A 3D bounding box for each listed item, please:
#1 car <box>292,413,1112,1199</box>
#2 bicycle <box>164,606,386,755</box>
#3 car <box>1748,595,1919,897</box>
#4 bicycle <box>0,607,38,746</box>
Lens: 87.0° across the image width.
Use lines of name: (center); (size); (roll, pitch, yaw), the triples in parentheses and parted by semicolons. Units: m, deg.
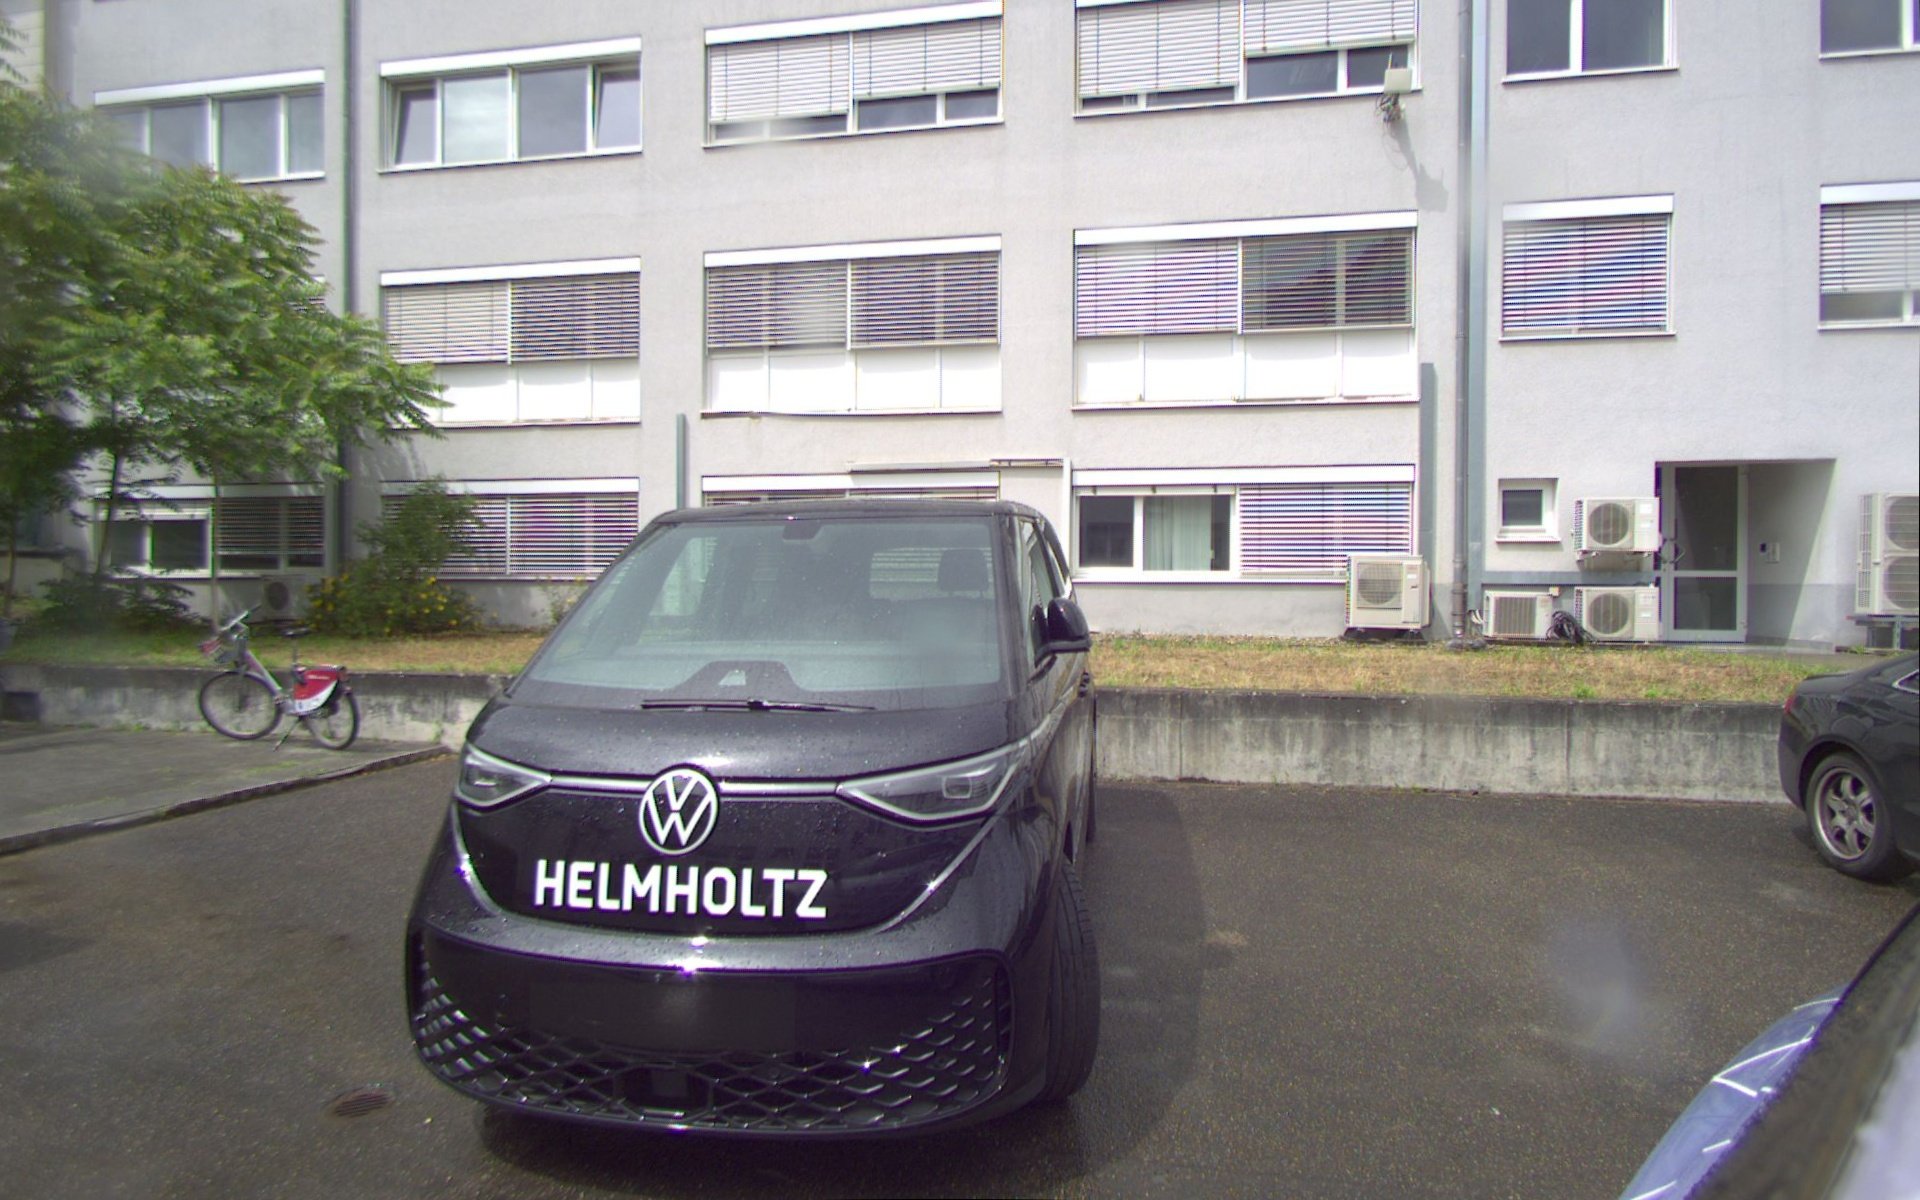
car: (-0.296, 0.473, 4.642); (1.938, 1.888, 4.737); (0, 2, 9)
bicycle: (-5.665, 0.635, 8.374); (1.770, 1.117, 0.445); (1, 3, 14)
car: (5.167, 0.730, 3.658); (1.735, 1.369, 4.517); (0, 2, 10)
bicycle: (-8.140, 0.628, 7.647); (0.362, 1.118, 1.786); (1, 1, 18)
